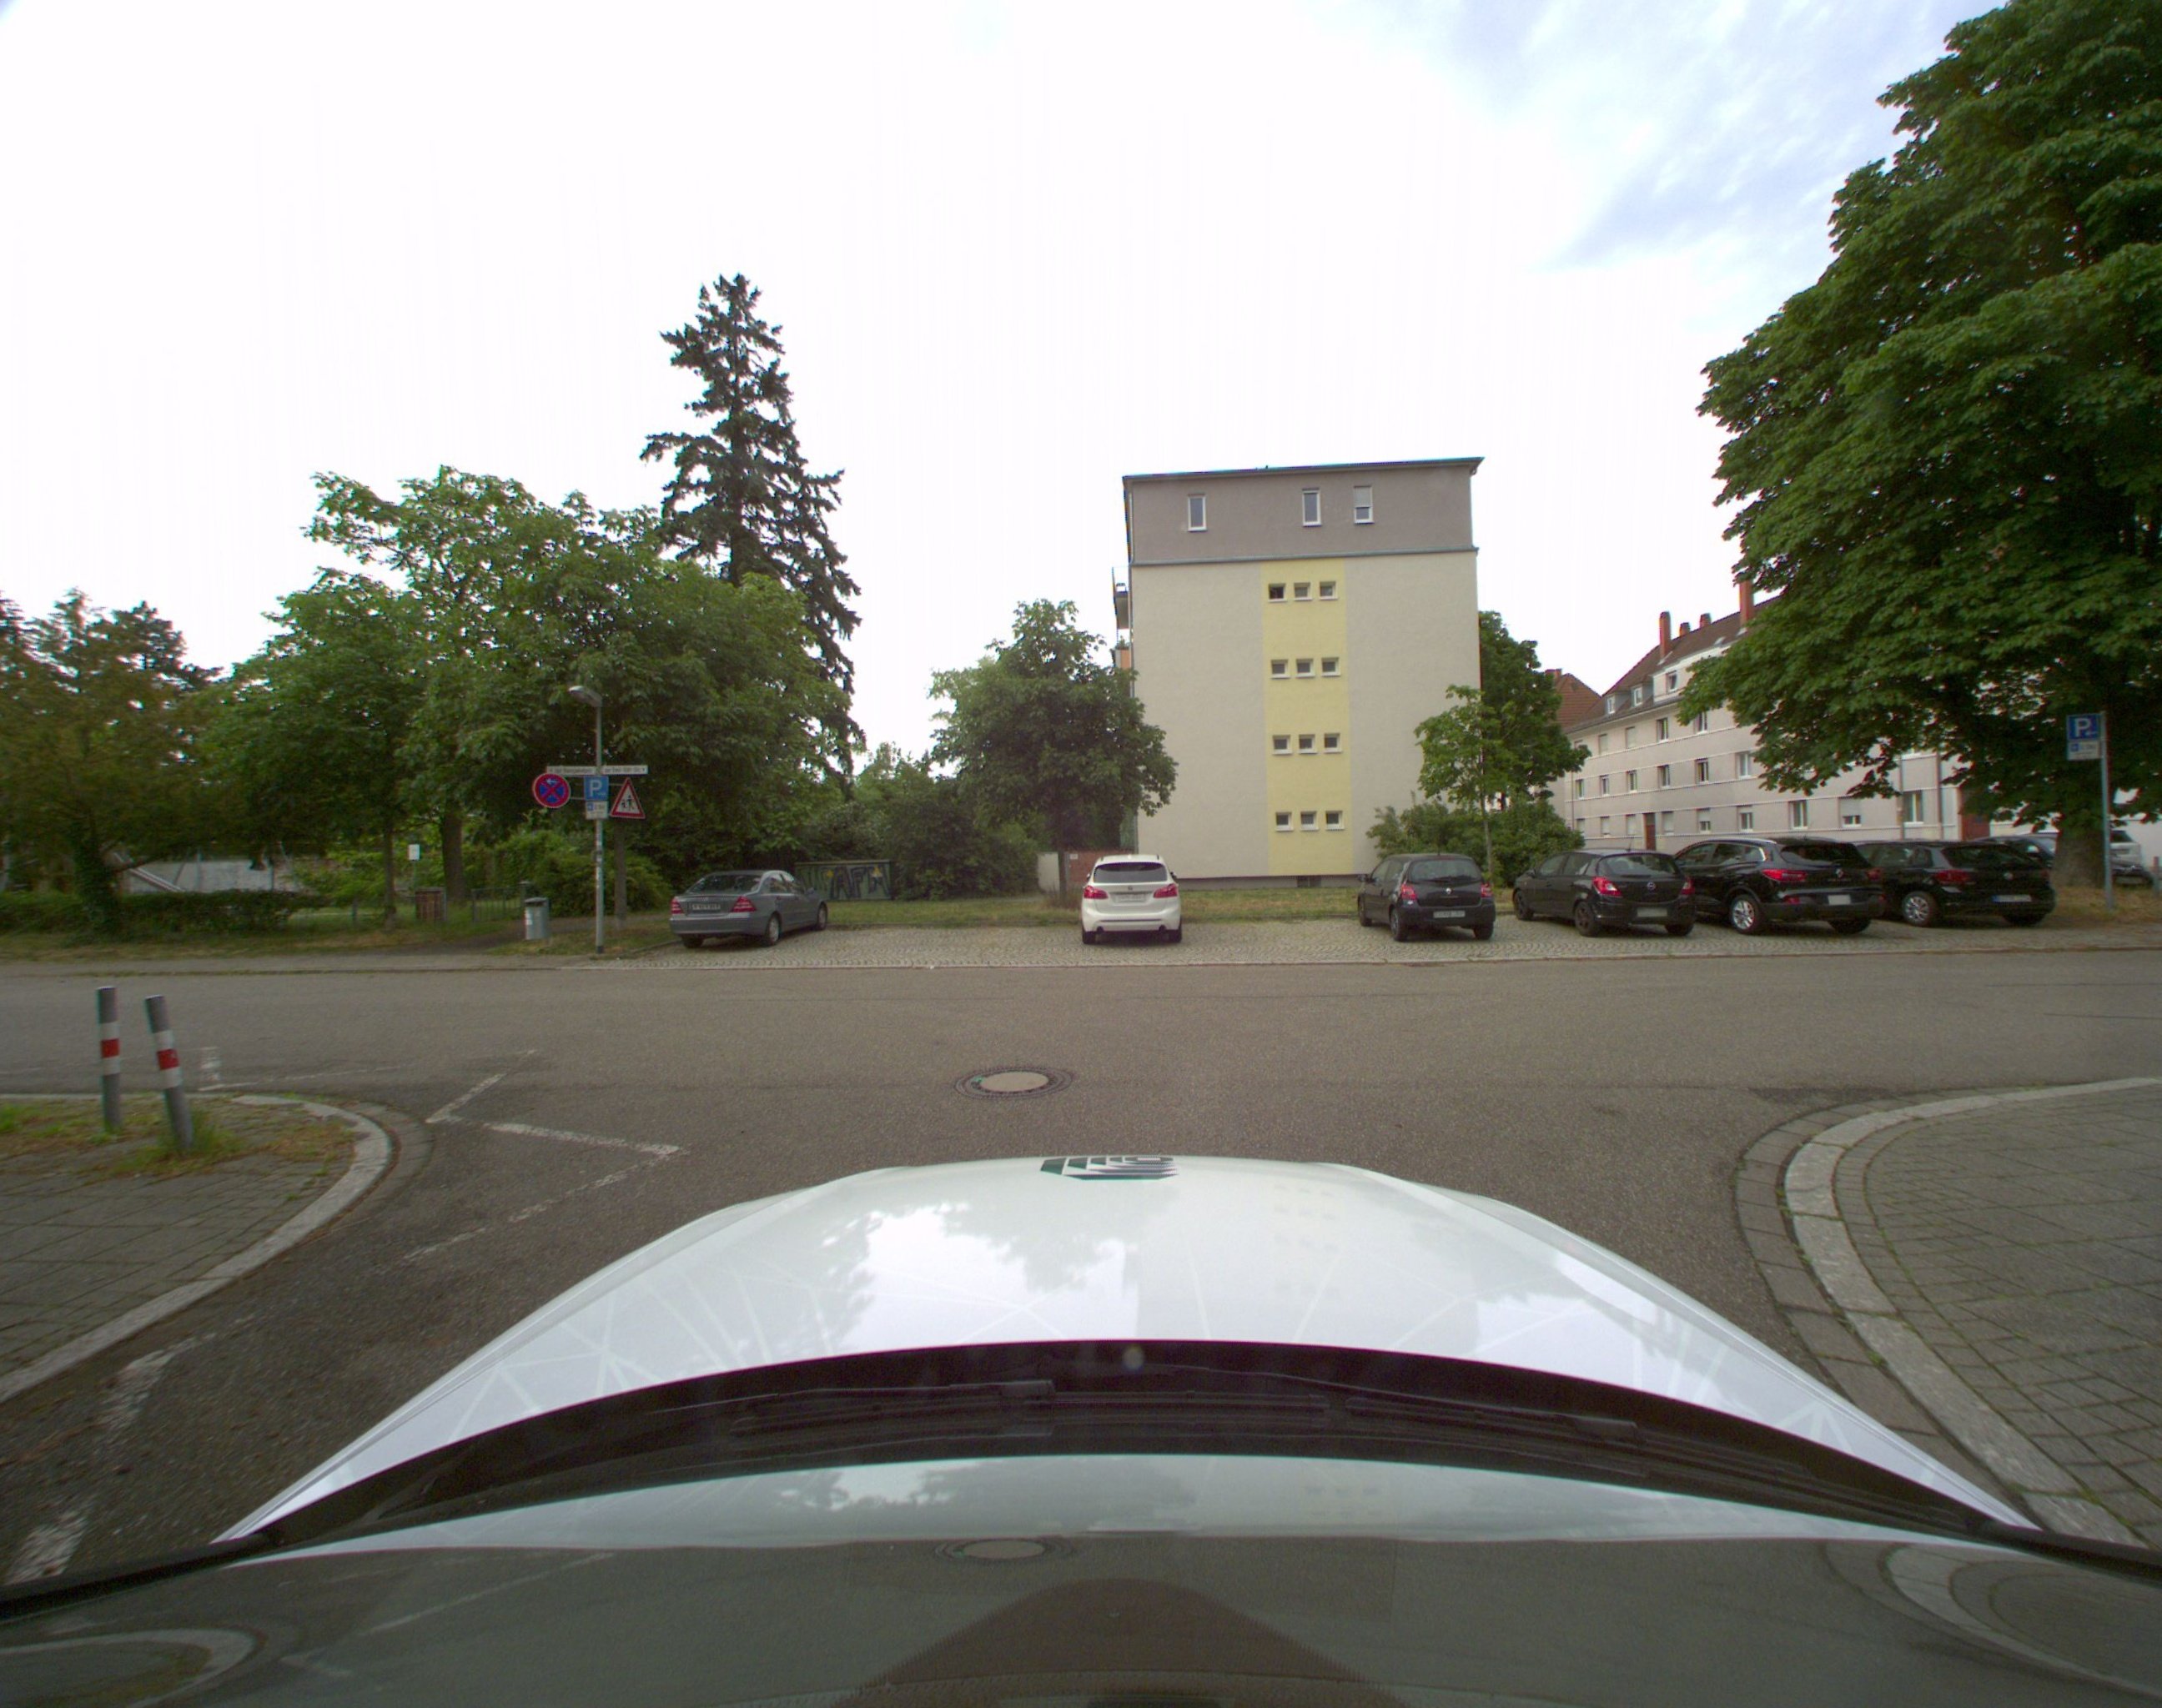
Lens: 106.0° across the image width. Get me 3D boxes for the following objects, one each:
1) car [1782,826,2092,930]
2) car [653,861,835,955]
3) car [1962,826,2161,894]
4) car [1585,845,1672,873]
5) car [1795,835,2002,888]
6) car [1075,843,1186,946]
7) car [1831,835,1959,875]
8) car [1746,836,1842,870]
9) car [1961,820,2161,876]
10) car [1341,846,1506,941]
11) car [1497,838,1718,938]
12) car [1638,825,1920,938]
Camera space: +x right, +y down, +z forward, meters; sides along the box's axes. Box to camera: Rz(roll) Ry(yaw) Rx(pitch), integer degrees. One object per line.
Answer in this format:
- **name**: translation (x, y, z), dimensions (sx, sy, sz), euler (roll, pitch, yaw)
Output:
- **car**: translation (15.054, 0.378, 14.687), dimensions (1.815, 1.577, 3.850), euler (-2, 0, 7)
- **car**: translation (-6.488, 0.953, 16.305), dimensions (1.669, 1.454, 4.560), euler (-1, 1, 0)
- **car**: translation (24.187, 0.132, 20.002), dimensions (1.516, 1.493, 3.599), euler (1, 0, 8)
- **car**: translation (25.885, 0.206, 38.670), dimensions (1.688, 1.258, 4.021), euler (0, 0, 5)
- **car**: translation (24.895, 0.197, 25.116), dimensions (1.858, 1.464, 4.842), euler (1, 0, 6)
- **car**: translation (1.021, 0.666, 15.908), dimensions (1.869, 1.560, 4.156), euler (0, 3, 5)
- **car**: translation (32.885, 0.030, 33.063), dimensions (1.559, 1.478, 3.877), euler (-2, 0, 6)
- **car**: translation (33.601, -0.044, 38.501), dimensions (1.559, 1.473, 3.703), euler (-2, 0, 7)
- **car**: translation (32.838, -0.190, 27.452), dimensions (1.835, 1.674, 4.293), euler (-3, 0, 3)
- **car**: translation (6.272, 0.633, 15.489), dimensions (1.825, 1.463, 4.572), euler (-1, 1, 9)
- **car**: translation (9.494, 0.517, 15.168), dimensions (1.825, 1.565, 4.368), euler (-1, 1, 9)
- **car**: translation (11.940, 0.386, 14.363), dimensions (1.899, 1.697, 4.079), euler (-1, 1, 9)
